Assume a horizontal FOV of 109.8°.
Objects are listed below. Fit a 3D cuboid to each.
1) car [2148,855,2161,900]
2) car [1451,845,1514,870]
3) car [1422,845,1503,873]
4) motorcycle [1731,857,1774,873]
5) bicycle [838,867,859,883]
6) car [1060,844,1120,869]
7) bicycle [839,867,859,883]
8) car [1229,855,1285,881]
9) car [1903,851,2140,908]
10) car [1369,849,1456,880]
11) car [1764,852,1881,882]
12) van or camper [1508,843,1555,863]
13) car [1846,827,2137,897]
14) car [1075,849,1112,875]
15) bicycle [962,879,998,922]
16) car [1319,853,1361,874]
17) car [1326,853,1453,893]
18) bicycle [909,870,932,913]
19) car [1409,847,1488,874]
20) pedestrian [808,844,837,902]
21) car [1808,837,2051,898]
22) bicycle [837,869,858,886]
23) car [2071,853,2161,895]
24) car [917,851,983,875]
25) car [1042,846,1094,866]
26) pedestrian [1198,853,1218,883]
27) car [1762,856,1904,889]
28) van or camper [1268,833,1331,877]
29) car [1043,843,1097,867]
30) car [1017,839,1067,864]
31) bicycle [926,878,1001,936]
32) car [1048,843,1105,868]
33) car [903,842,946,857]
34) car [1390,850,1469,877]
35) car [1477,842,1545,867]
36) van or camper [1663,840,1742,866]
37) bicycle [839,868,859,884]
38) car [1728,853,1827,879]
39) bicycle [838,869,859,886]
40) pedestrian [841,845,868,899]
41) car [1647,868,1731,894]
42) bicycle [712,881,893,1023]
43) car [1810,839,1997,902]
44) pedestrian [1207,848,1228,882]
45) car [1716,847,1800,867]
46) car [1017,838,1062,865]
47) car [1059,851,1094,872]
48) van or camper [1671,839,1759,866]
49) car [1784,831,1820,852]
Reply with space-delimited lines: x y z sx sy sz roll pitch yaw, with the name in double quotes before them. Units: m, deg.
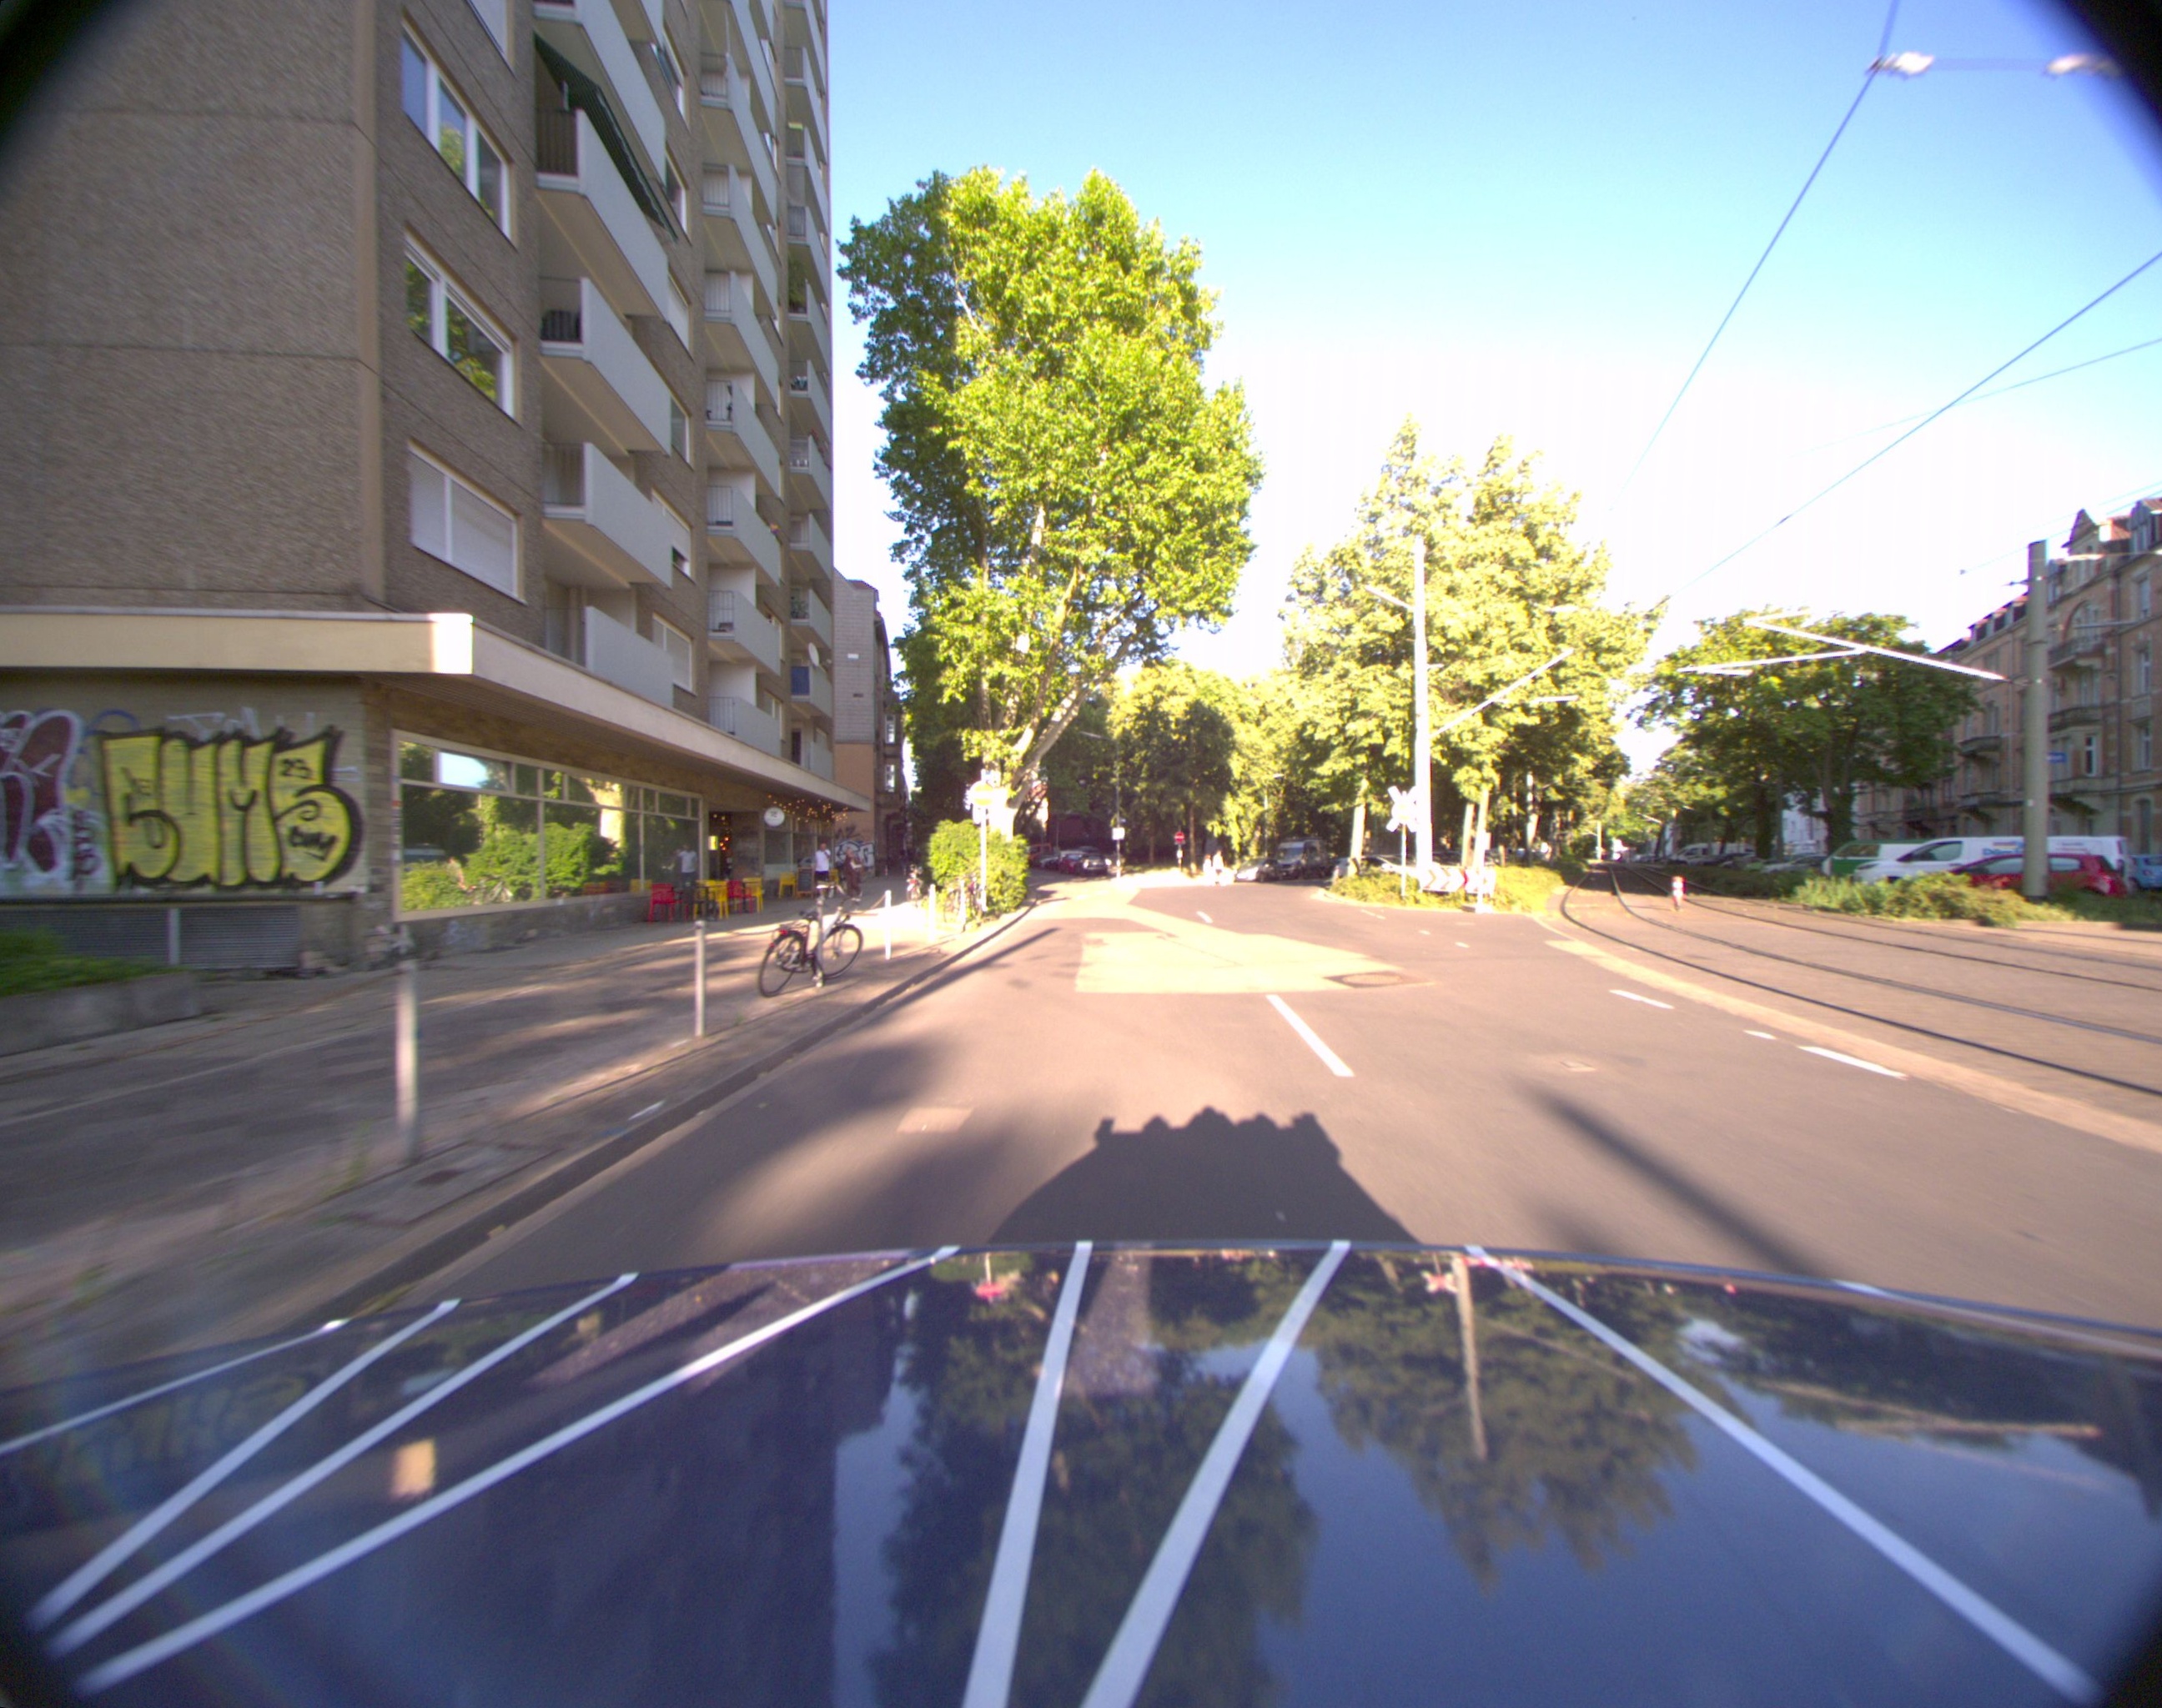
"car" 36.921 0.823 24.167 1.851 1.532 4.781 0 0 33
"car" 31.280 0.301 59.315 1.885 1.770 4.156 -2 -1 -17
"car" 27.401 0.366 54.781 1.990 1.770 4.993 -2 -1 -26
"motorcycle" 40.065 0.656 45.370 1.022 0.949 1.723 -1 0 -34
"bicycle" -11.039 1.001 36.067 0.896 0.737 0.272 -1 1 -14
"car" 0.688 0.197 60.346 4.401 1.698 1.732 -4 1 -9
"bicycle" -10.913 1.005 35.781 0.896 0.737 0.272 -1 1 -14
"car" 10.559 0.832 45.370 1.681 1.437 3.880 -3 -1 40
"car" 24.060 0.573 19.577 1.719 1.321 3.624 0 0 -31
"car" 17.337 0.572 39.902 1.834 1.484 3.877 -2 -1 -27
"car" 36.049 0.596 37.051 1.730 1.373 3.729 0 0 -29
"van or camper" 59.086 -0.118 99.755 2.048 2.455 4.877 -2 -1 -28
"car" 25.541 0.186 21.567 2.089 1.754 5.046 0 0 -33
"car" 0.808 0.504 50.498 1.742 1.543 4.272 -3 1 -8
"bicycle" -2.330 1.055 17.712 0.544 0.899 1.736 0 0 2
"car" 19.825 0.677 58.083 1.681 1.517 4.499 0 0 37
"car" 12.042 0.743 29.864 1.778 1.421 4.283 -2 0 -37
"bicycle" -4.080 0.941 19.323 0.349 1.032 1.052 0 1 1
"car" 24.136 0.458 50.064 1.944 1.616 4.350 -2 -1 -26
"pedestrian" -7.947 0.578 23.422 0.686 1.763 0.635 0 1 -3
"car" 27.014 0.368 24.445 2.088 1.754 4.825 0 0 -27
"bicycle" -10.668 1.081 34.744 0.896 0.737 0.272 -1 1 -14
"car" 40.659 0.720 29.263 1.851 1.510 4.068 0 1 33
"car" -8.536 0.597 49.496 4.003 1.464 1.732 1 0 -17
"car" -1.179 0.141 67.992 4.401 1.484 1.785 -4 1 -9
"pedestrian" 6.973 0.779 41.808 0.812 1.598 0.718 1 -1 41
"car" 34.031 0.774 34.544 1.596 1.373 4.280 0 0 -23
"van or camper" 14.568 0.037 50.426 2.085 2.746 5.857 0 0 37
"car" -0.957 0.103 65.789 4.401 1.766 1.785 -4 1 -9
"car" -3.862 -0.290 75.203 4.643 2.399 1.605 0 1 -14
"bicycle" -2.357 1.042 15.551 0.639 1.016 2.091 0 0 18
"car" -0.385 0.127 62.856 4.401 1.766 1.785 -4 1 -9
"car" -17.495 -0.484 84.752 4.488 1.621 1.732 1 0 -17
"car" 20.467 0.571 44.785 1.834 1.430 3.864 -2 -2 -29
"car" 41.978 0.098 74.347 2.083 2.124 5.505 -2 -1 -25
"van or camper" 61.670 -0.162 75.549 2.003 2.454 5.663 0 1 -30
"bicycle" -10.828 1.009 35.441 0.896 0.737 0.272 -1 1 -14
"car" 38.919 0.638 42.536 1.710 1.373 3.730 0 0 -28
"bicycle" -10.739 1.077 35.092 0.896 0.737 0.272 -1 1 -14
"pedestrian" -7.228 0.564 24.318 0.686 1.682 0.644 0 1 -3
"car" 41.525 1.832 51.979 2.003 1.569 3.990 0 1 -29
"bicycle" -2.863 0.947 8.096 0.639 1.219 2.091 0 1 18
"car" 28.735 0.516 26.699 2.002 2.002 3.992 0 1 -23
"pedestrian" 7.189 0.578 40.075 0.812 1.771 0.718 1 1 41
"car" 45.972 0.201 51.693 1.597 1.310 3.989 0 1 -34
"car" -4.545 -0.292 82.979 4.643 2.950 1.605 0 1 -14
"car" -0.395 0.512 55.732 1.744 1.441 4.640 -2 1 -11
"van or camper" 56.836 -0.158 68.233 2.311 2.357 5.538 0 1 -27
"car" 72.083 -1.253 76.037 1.994 2.002 4.008 0 1 34
